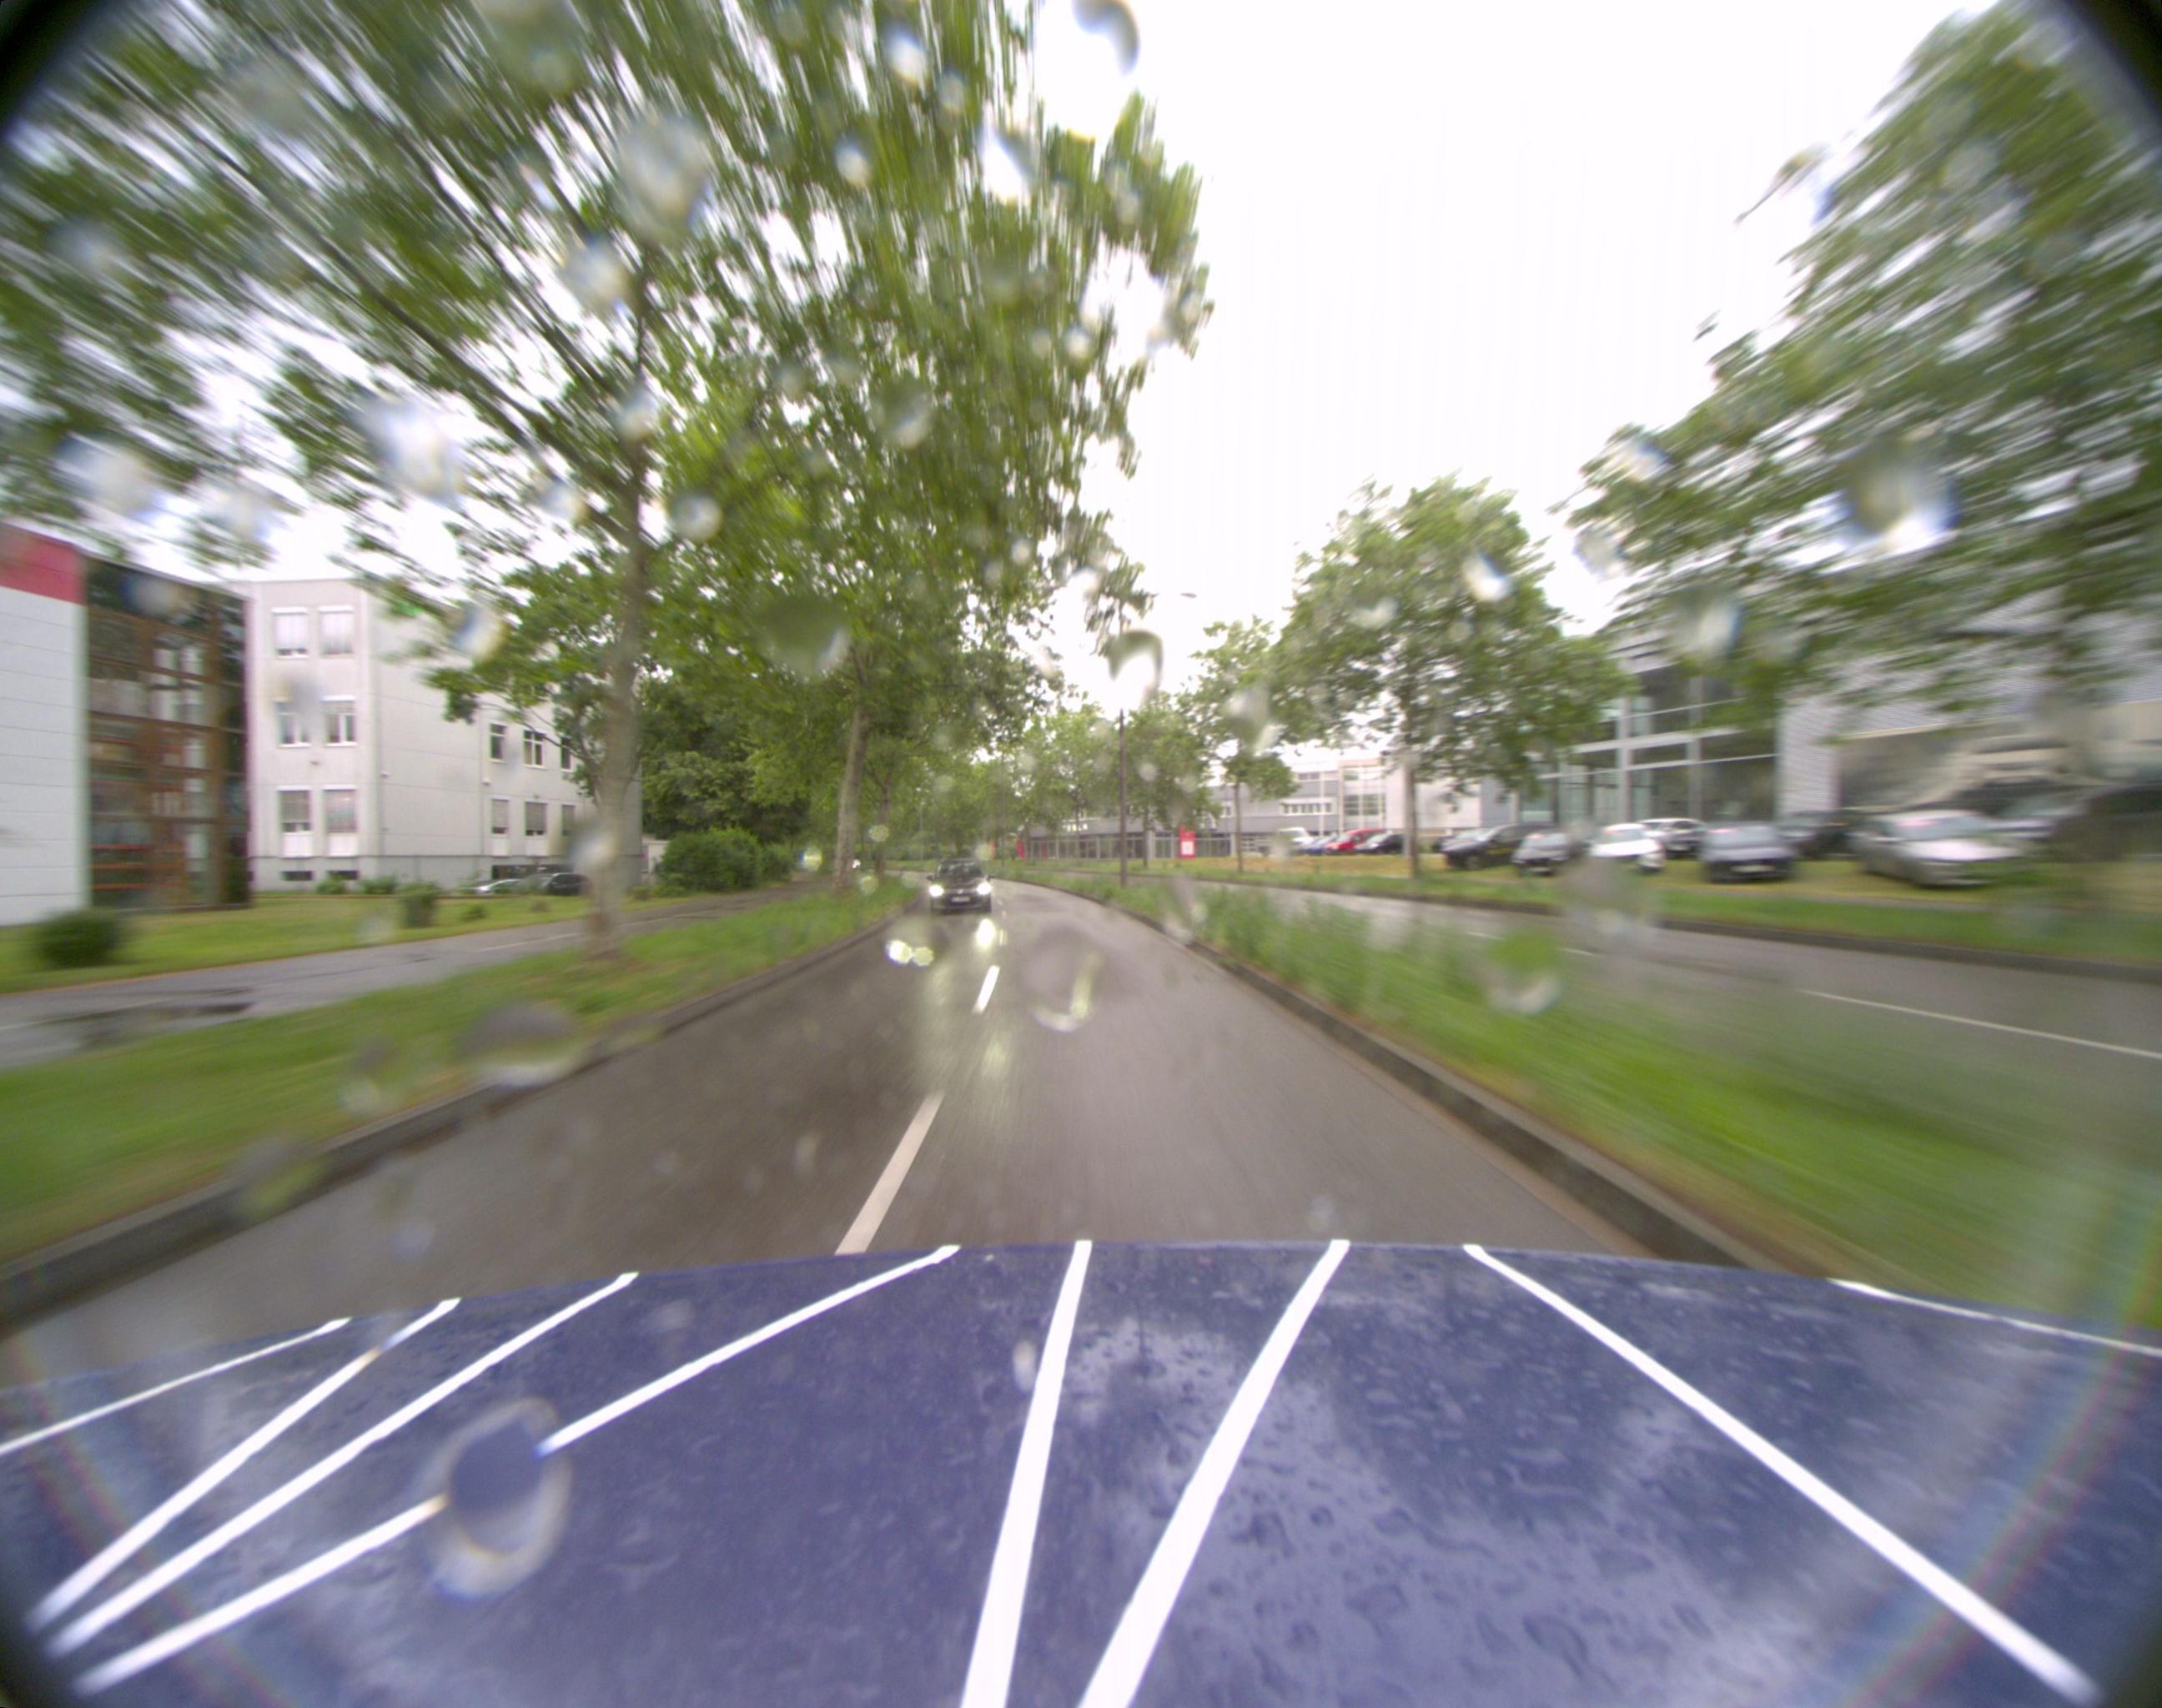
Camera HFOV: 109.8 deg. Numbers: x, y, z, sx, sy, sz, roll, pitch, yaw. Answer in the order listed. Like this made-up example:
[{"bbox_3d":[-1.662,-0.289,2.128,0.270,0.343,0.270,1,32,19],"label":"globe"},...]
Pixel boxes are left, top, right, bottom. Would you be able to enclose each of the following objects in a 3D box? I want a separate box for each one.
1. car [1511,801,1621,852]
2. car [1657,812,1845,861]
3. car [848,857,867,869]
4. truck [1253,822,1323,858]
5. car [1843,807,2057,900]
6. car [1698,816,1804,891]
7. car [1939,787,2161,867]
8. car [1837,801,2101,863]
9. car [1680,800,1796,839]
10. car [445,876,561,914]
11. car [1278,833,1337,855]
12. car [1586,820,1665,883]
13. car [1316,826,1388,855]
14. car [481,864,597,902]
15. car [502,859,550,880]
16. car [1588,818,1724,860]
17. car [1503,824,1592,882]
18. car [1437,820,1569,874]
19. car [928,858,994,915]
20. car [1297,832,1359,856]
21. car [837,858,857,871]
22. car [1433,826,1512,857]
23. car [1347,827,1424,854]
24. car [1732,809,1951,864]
[{"bbox_3d":[29.267,-1.655,46.118,5.326,2.736,2.174,-3,1,26],"label":"car"},{"bbox_3d":[22.524,-0.568,25.736,4.429,1.465,1.921,-2,1,10],"label":"car"},{"bbox_3d":[-30.465,1.156,103.519,1.788,1.546,3.991,-1,0,-27],"label":"car"},{"bbox_3d":[15.827,-1.020,58.486,2.255,2.331,6.187,-4,0,-15],"label":"truck"},{"bbox_3d":[18.684,-0.088,16.604,1.781,1.467,4.004,-8,1,30],"label":"car"},{"bbox_3d":[18.094,-0.064,20.698,1.843,1.415,4.135,-8,2,39],"label":"car"},{"bbox_3d":[24.003,-0.630,18.149,4.429,1.728,1.921,-2,1,10],"label":"car"},{"bbox_3d":[23.753,-0.557,20.520,4.429,1.465,1.921,-2,1,10],"label":"car"},{"bbox_3d":[26.910,-1.425,31.117,4.441,1.465,1.916,-2,1,-25],"label":"car"},{"bbox_3d":[-26.649,1.864,35.192,1.782,1.467,4.115,-2,0,10],"label":"car"},{"bbox_3d":[16.050,-0.699,53.960,3.536,1.319,1.766,-4,0,-16],"label":"car"},{"bbox_3d":[17.882,-0.126,25.026,1.843,1.471,4.135,-8,2,36],"label":"car"},{"bbox_3d":[17.512,-0.859,49.165,4.010,1.548,1.845,-4,0,-16],"label":"car"},{"bbox_3d":[-24.145,1.243,34.036,1.782,1.467,4.115,-2,0,10],"label":"car"},{"bbox_3d":[-39.528,1.072,54.213,1.599,1.350,3.701,-2,1,-18],"label":"car"},{"bbox_3d":[21.819,-0.565,28.878,4.439,1.465,1.917,-2,1,-18],"label":"car"},{"bbox_3d":[17.172,-0.062,27.886,1.843,1.471,4.135,-7,2,43],"label":"car"},{"bbox_3d":[17.608,-0.289,31.967,4.428,1.548,1.849,-8,1,18],"label":"car"},{"bbox_3d":[-3.611,0.919,23.365,1.785,1.546,3.997,-1,0,-6],"label":"car"},{"bbox_3d":[16.727,-0.655,51.562,3.536,1.319,1.766,-4,0,-16],"label":"car"},{"bbox_3d":[-29.850,1.354,96.788,1.788,1.546,3.991,-1,0,-27],"label":"car"},{"bbox_3d":[20.430,-0.659,39.627,4.015,1.349,1.843,-4,0,-34],"label":"car"},{"bbox_3d":[18.636,-0.815,46.559,4.010,1.349,1.845,-4,0,-16],"label":"car"},{"bbox_3d":[23.029,-0.520,23.191,4.429,1.465,1.921,-2,1,10],"label":"car"}]
